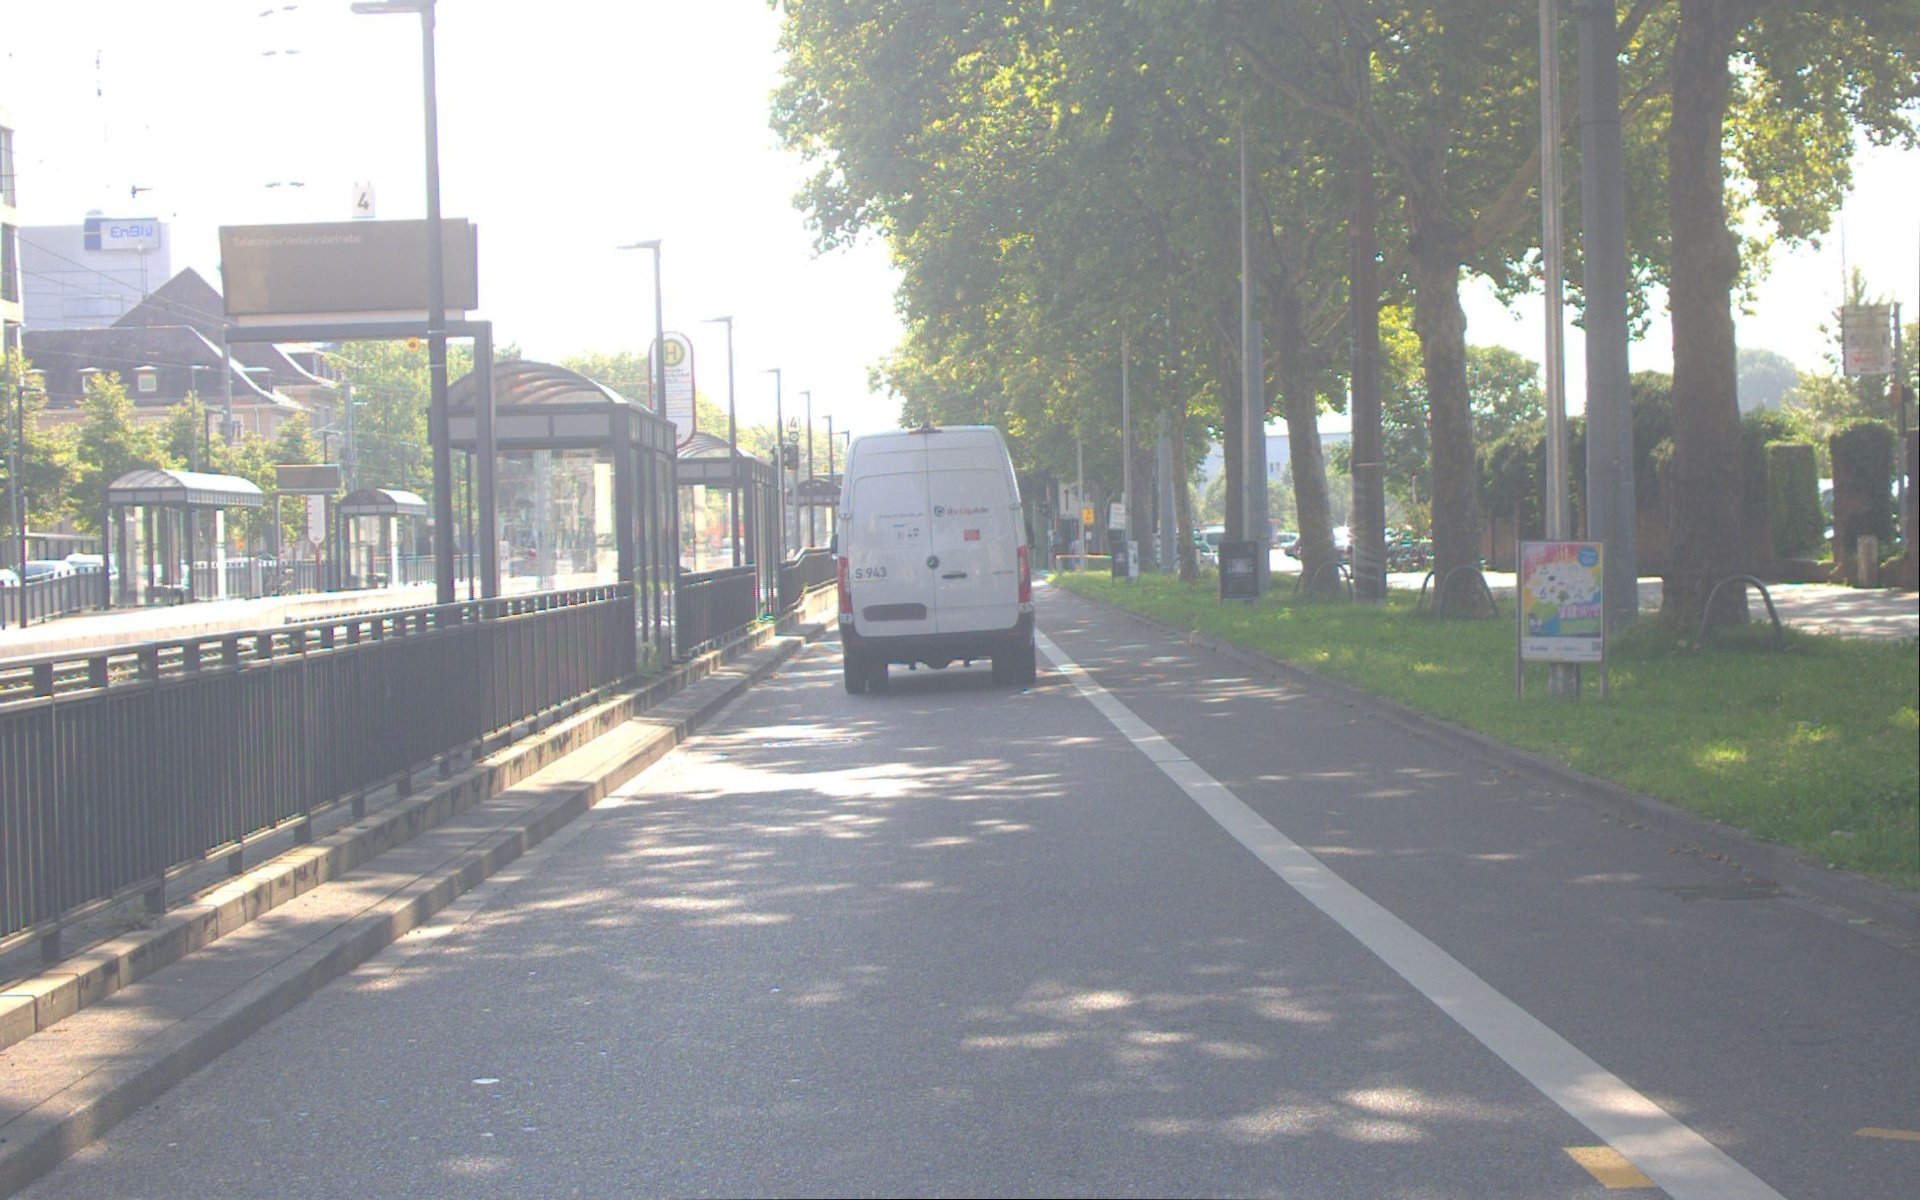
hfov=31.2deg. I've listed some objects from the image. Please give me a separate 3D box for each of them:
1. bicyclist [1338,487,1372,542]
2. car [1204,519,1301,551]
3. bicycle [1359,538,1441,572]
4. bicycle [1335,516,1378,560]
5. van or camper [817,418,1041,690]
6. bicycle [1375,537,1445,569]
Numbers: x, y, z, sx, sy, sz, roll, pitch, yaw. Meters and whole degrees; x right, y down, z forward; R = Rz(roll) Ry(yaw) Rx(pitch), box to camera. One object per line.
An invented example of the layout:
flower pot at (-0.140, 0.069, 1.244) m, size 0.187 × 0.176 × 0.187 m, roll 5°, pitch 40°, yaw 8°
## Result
bicyclist at (9.399, -2.034, 81.876) m, size 0.669 × 1.272 × 0.728 m, roll -2°, pitch 1°, yaw -1°
car at (12.668, -2.813, 149.020) m, size 3.987 × 1.371 × 2.000 m, roll 0°, pitch 0°, yaw 0°
bicycle at (12.273, -1.251, 95.945) m, size 2.180 × 0.844 × 0.503 m, roll -2°, pitch 1°, yaw 0°
bicycle at (9.442, -1.479, 81.884) m, size 0.681 × 1.001 × 2.218 m, roll -2°, pitch 1°, yaw -1°
van or camper at (-0.414, -0.499, 36.456) m, size 2.115 × 2.673 × 5.251 m, roll 0°, pitch 1°, yaw -3°
bicycle at (12.940, -1.348, 98.958) m, size 1.932 × 0.844 × 0.372 m, roll -2°, pitch 1°, yaw 0°
